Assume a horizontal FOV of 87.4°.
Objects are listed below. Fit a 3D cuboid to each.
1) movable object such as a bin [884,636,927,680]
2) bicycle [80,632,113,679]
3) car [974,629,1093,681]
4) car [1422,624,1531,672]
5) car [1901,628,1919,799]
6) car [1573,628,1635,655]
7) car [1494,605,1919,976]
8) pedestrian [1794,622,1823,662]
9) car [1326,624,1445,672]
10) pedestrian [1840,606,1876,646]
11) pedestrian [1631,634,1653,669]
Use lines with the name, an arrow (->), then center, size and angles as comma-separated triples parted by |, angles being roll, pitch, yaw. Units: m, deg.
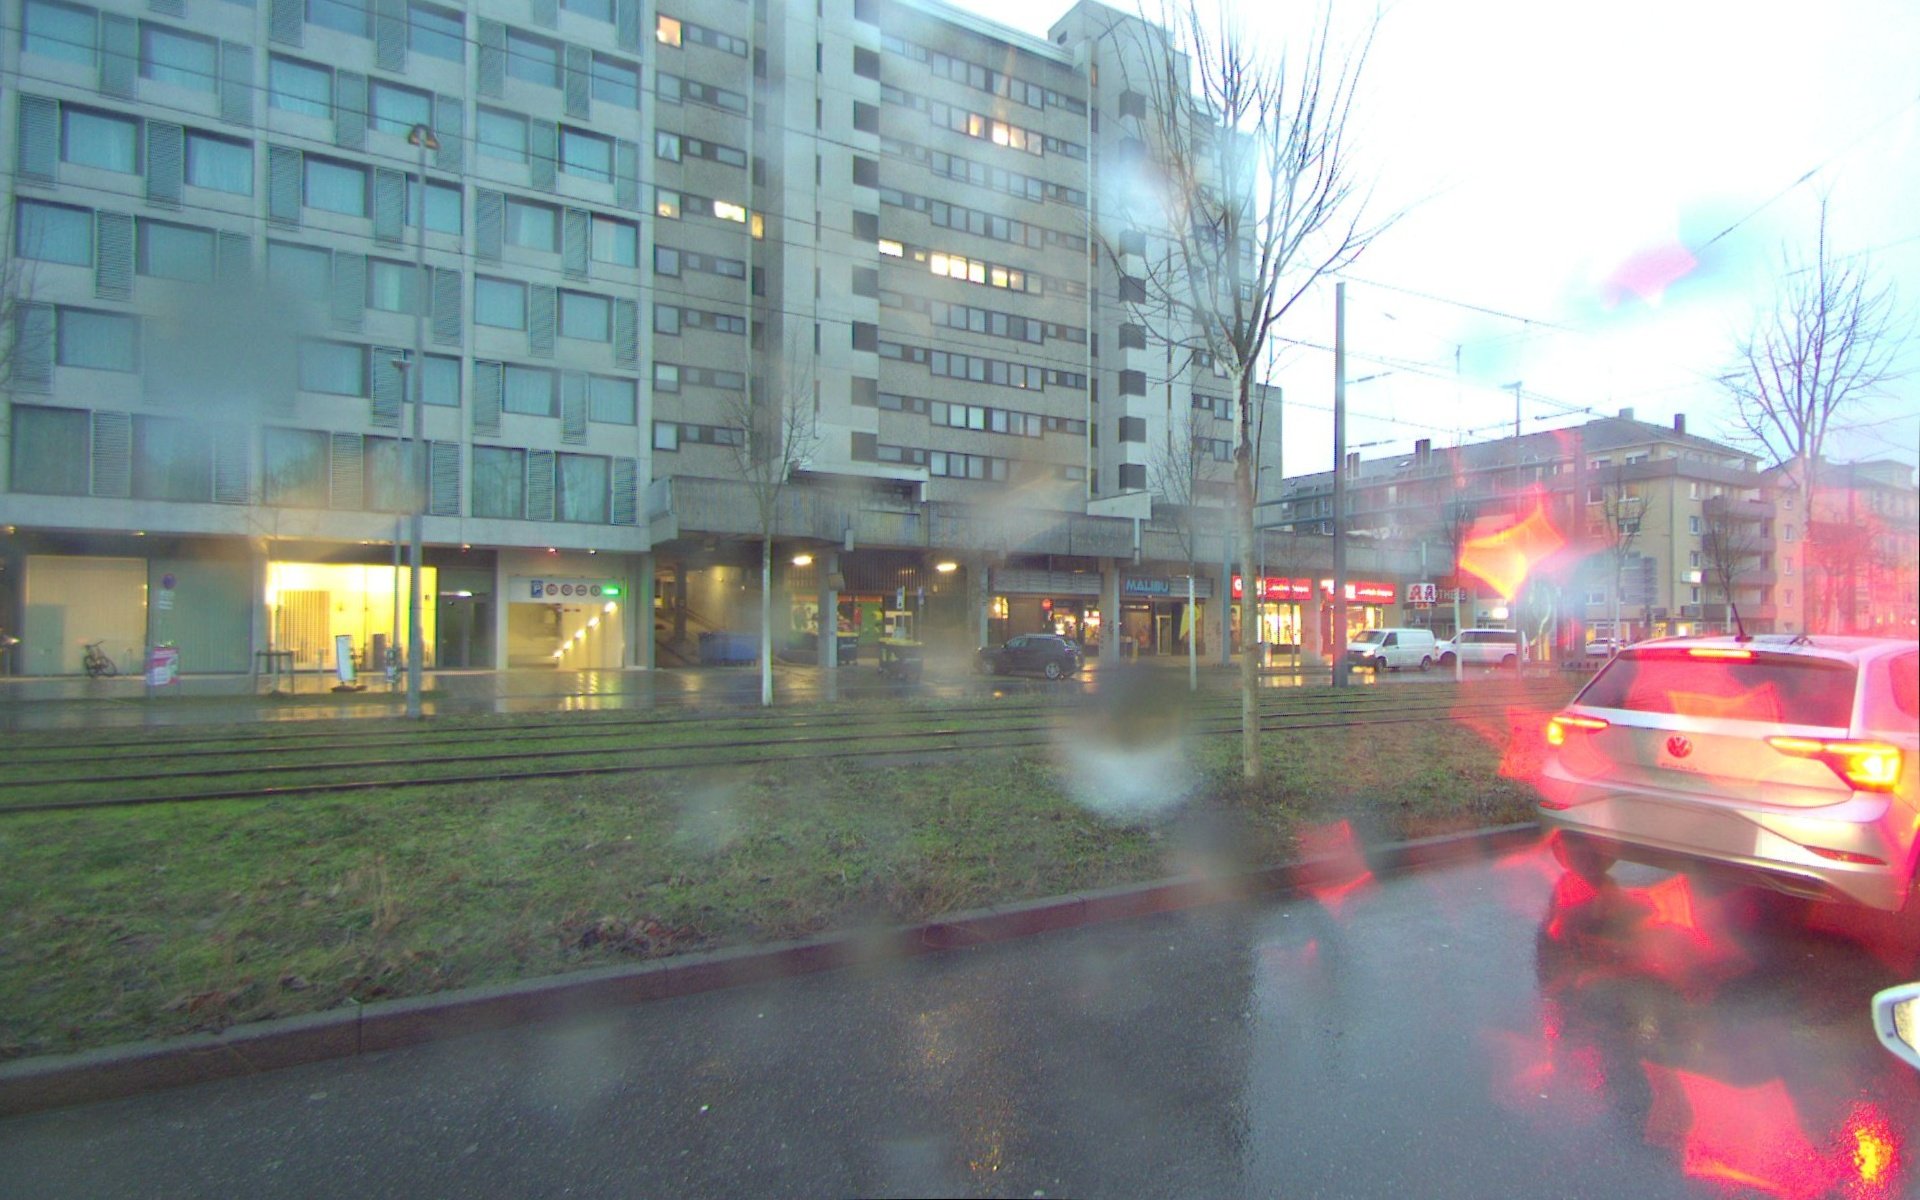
movable object such as a bin -> -1.909, 2.013, 35.014 | 1.023, 1.445, 1.061 | 2, 0, -41
bicycle -> -25.188, 1.603, 29.325 | 0.460, 1.255, 1.527 | 2, 0, -31
car -> 2.806, 2.055, 38.337 | 4.066, 1.715, 1.982 | 2, 0, 28
car -> 27.109, 2.505, 52.858 | 4.734, 2.274, 2.001 | 2, 0, 15
car -> 10.668, 1.008, 9.198 | 4.532, 1.486, 1.791 | 1, -2, -30
car -> 51.347, 3.295, 80.157 | 1.826, 1.968, 3.720 | 2, 0, -37
car -> 5.154, 0.841, 5.965 | 3.953, 1.554, 1.685 | 1, -1, -30
pedestrian -> 43.324, 2.138, 51.291 | 1.056, 2.040, 1.001 | -1, -2, 44
car -> 20.033, 2.253, 47.218 | 5.491, 2.073, 1.987 | 2, 0, -26
pedestrian -> 45.979, 1.340, 51.455 | 1.253, 2.040, 1.004 | -1, -2, 36
pedestrian -> 40.477, 3.026, 59.643 | 0.990, 2.040, 0.960 | -1, -2, 31
